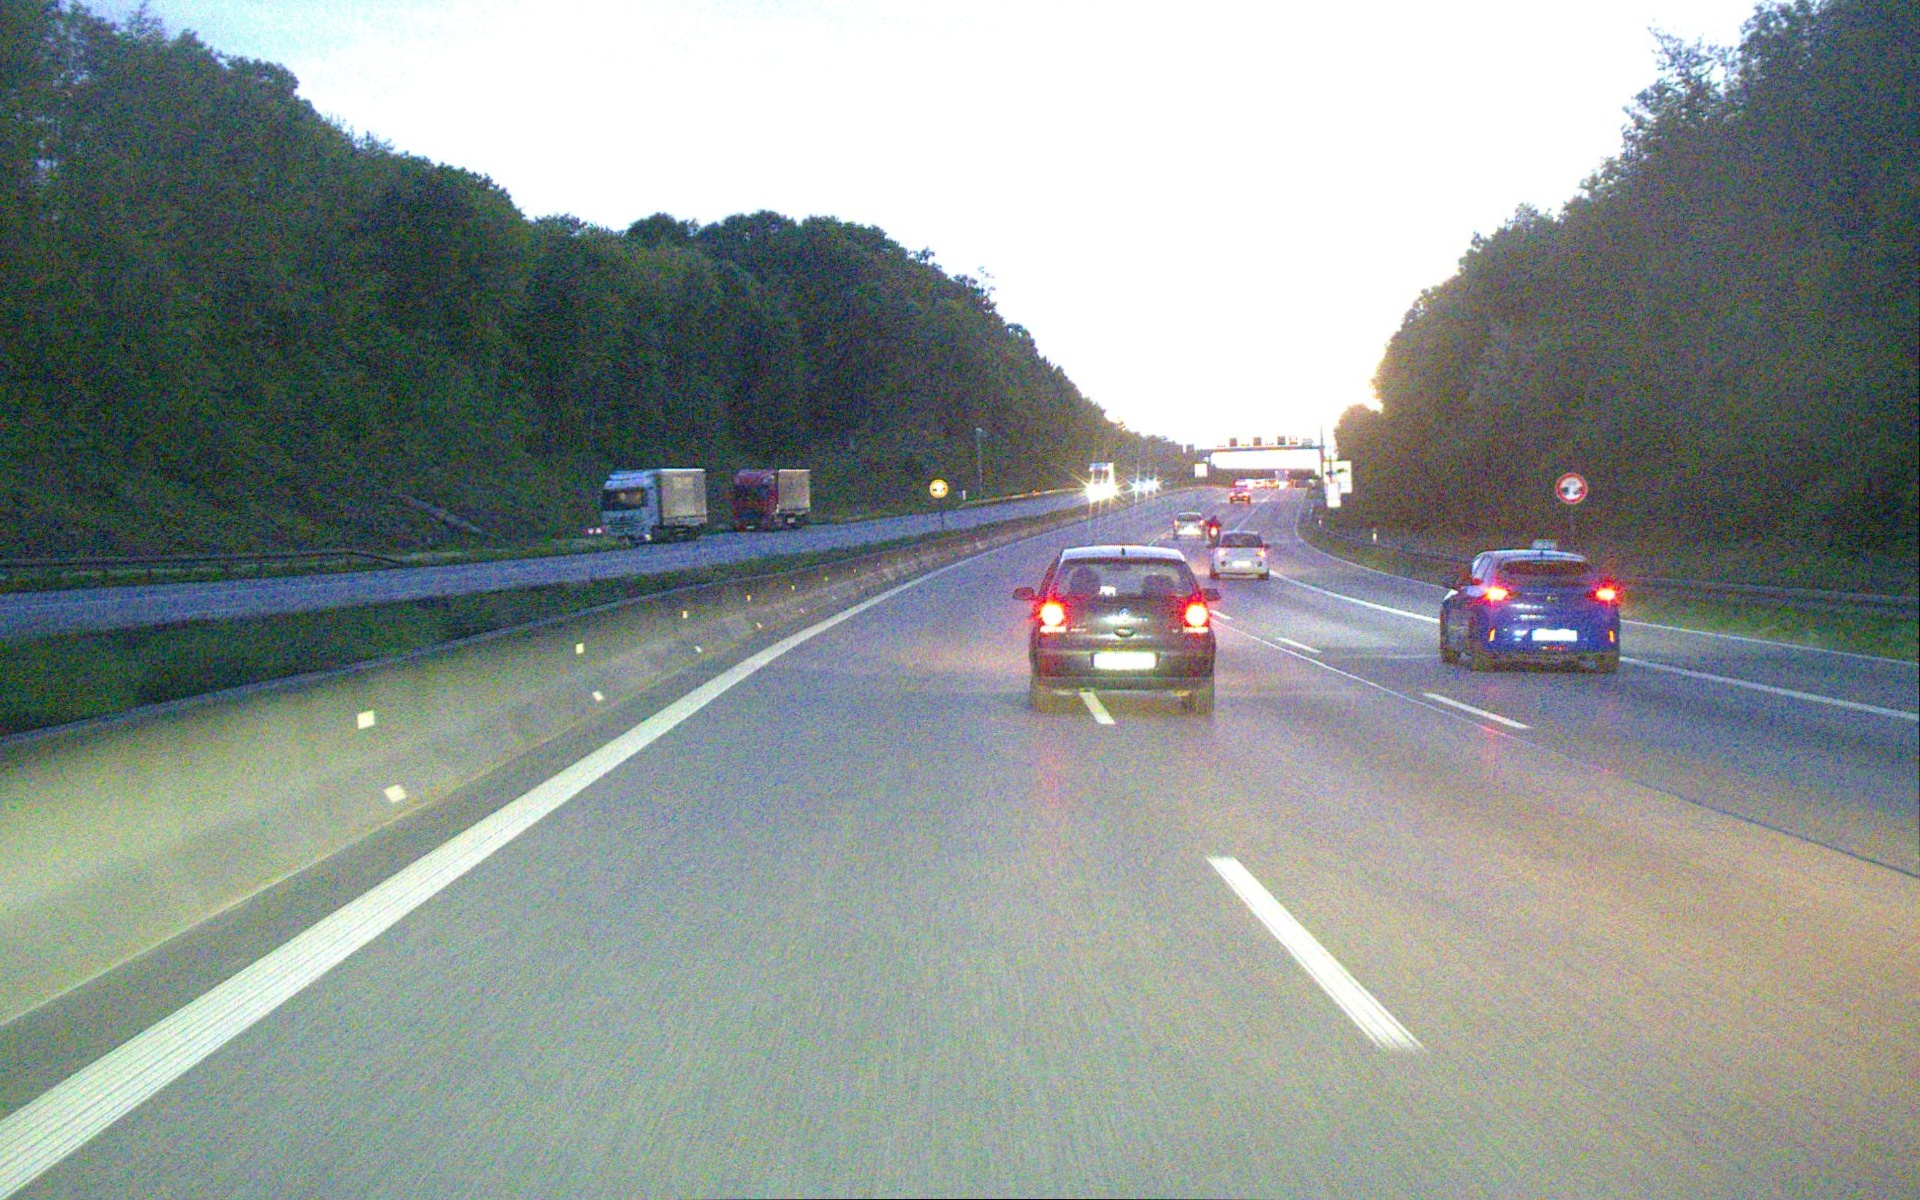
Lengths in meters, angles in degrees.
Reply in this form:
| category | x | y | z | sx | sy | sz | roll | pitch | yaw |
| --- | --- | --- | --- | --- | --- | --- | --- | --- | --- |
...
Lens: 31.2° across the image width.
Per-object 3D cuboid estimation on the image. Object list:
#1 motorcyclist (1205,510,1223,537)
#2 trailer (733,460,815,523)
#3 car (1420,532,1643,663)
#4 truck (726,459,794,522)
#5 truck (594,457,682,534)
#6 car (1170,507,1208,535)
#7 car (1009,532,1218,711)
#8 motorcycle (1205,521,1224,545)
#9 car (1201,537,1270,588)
| category | x | y | z | sx | sy | sz | roll | pitch | yaw |
| --- | --- | --- | --- | --- | --- | --- | --- | --- | --- |
| motorcyclist | 12.317 | -3.702 | 166.593 | 0.830 | 1.287 | 1.190 | -1 | 1 | 6 |
| trailer | -12.543 | -7.364 | 233.549 | 3.192 | 4.090 | 14.181 | 0 | 2 | 7 |
| car | 6.890 | -0.074 | 41.912 | 1.865 | 1.431 | 4.584 | 1 | 2 | -1 |
| truck | -13.196 | -7.258 | 227.987 | 3.192 | 4.090 | 7.688 | 0 | 2 | 7 |
| truck | -17.505 | -5.705 | 187.322 | 3.192 | 4.090 | 7.688 | 0 | 2 | 7 |
| car | 12.346 | -4.244 | 185.608 | 1.865 | 1.489 | 4.399 | 1 | 1 | 2 |
| car | 1.337 | 0.141 | 31.380 | 1.704 | 1.504 | 4.232 | 1 | 1 | 0 |
| motorcycle | 12.334 | -3.233 | 166.672 | 0.830 | 1.130 | 2.475 | -1 | 1 | 6 |
| car | 8.307 | -1.146 | 103.971 | 1.825 | 1.470 | 4.399 | 1 | 1 | 2 |
